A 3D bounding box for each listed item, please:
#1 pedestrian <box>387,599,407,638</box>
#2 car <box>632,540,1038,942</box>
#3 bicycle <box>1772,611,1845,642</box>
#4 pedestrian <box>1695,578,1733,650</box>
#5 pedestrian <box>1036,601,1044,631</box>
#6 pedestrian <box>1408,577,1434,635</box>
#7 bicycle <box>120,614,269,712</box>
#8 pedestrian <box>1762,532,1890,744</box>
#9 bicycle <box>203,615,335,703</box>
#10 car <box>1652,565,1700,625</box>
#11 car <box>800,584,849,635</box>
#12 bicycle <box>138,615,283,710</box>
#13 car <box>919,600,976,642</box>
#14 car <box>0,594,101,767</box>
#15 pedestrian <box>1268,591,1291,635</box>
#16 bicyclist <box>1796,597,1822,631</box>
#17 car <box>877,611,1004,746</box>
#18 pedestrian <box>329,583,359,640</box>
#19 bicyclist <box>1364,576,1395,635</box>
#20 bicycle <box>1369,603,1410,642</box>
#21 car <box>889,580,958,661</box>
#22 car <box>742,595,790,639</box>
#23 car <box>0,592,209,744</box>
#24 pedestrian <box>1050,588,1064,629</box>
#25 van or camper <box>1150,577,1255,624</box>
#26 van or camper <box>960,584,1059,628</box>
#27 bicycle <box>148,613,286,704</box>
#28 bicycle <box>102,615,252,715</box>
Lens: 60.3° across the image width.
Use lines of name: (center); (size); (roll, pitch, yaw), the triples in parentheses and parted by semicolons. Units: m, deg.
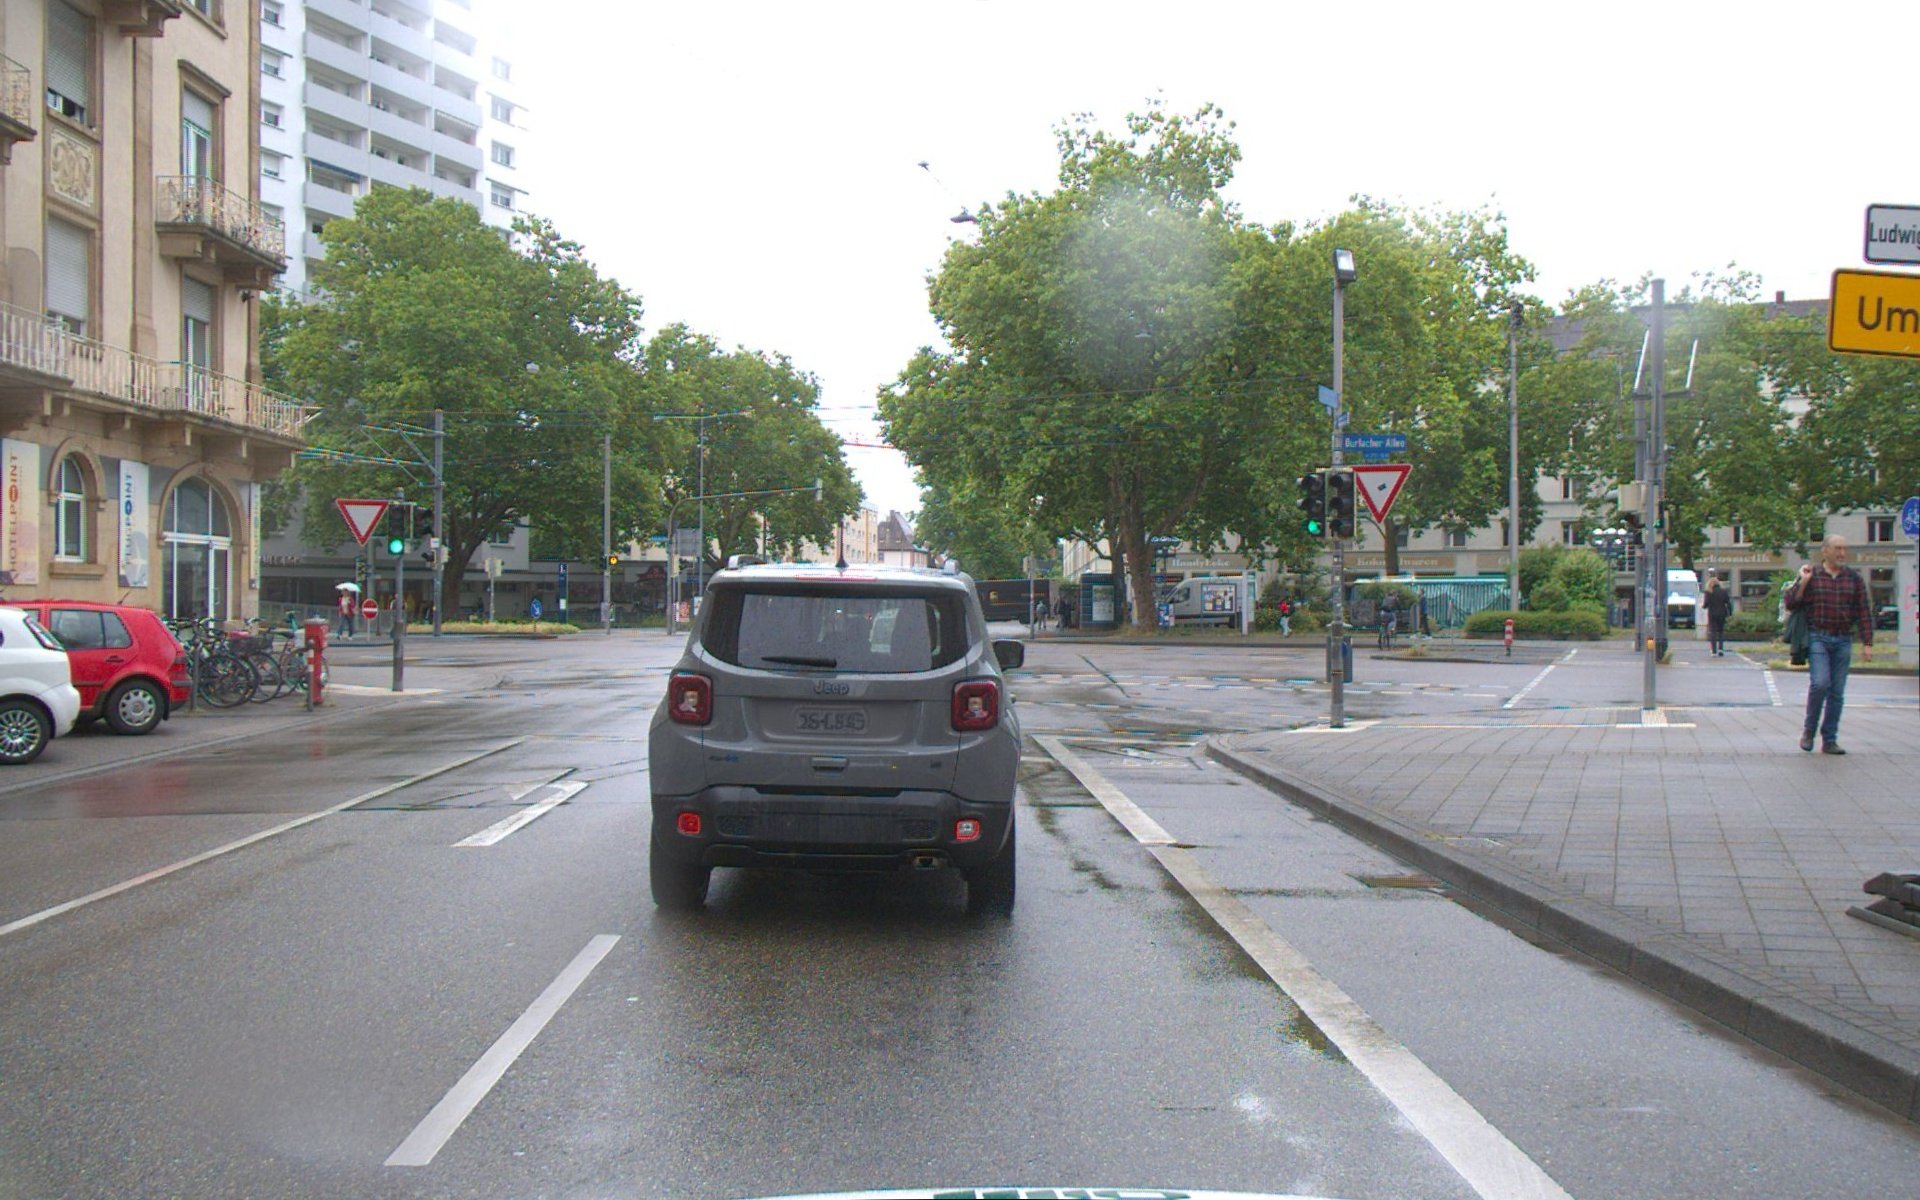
pedestrian: (-22.510, 0.732, 66.132); (0.433, 1.556, 0.643); (0, 0, 25)
car: (-0.590, 0.610, 9.163); (1.739, 1.716, 3.847); (-1, 0, -1)
bicycle: (25.604, 0.799, 49.945); (1.927, 0.927, 0.559); (0, 0, 23)
pedestrian: (17.839, 0.333, 39.157); (0.767, 1.674, 0.655); (-1, 0, 23)
pedestrian: (4.645, 0.927, 95.645); (0.448, 1.733, 0.424); (0, 0, 0)
pedestrian: (16.305, 0.221, 58.517); (0.789, 2.049, 0.589); (-1, 0, 26)
bicycle: (-10.428, 0.854, 22.553); (1.774, 1.288, 0.498); (-1, 0, -2)
pedestrian: (7.583, 0.324, 14.522); (0.769, 1.790, 0.946); (-1, 0, 14)
bicycle: (-10.496, 0.891, 25.143); (1.728, 1.288, 0.608); (-1, 0, -2)
car: (32.056, -0.214, 74.127); (1.868, 2.600, 4.785); (0, 0, 23)
car: (-4.805, 0.331, 58.842); (1.687, 1.769, 3.726); (0, 0, -4)
bicycle: (-10.488, 0.862, 23.164); (1.774, 1.288, 0.498); (-1, 0, -2)
car: (-0.418, 0.637, 52.437); (1.561, 1.274, 3.571); (0, 0, -4)
car: (-9.969, 0.747, 15.272); (3.371, 1.585, 1.681); (0, 0, -40)
pedestrian: (11.709, 0.476, 60.566); (0.660, 1.581, 0.761); (0, -2, 27)
bicyclist: (25.627, 0.419, 49.931); (0.665, 1.044, 0.559); (0, 0, 23)
car: (-0.227, 0.845, 19.152); (1.335, 1.400, 3.311); (0, 0, -1)
pedestrian: (-20.076, 0.369, 53.908); (0.605, 1.858, 0.695); (-1, 0, 13)
bicyclist: (11.773, 0.154, 46.422); (0.673, 1.646, 0.883); (-1, 0, 24)
bicycle: (12.085, 0.626, 46.472); (0.678, 1.039, 2.656); (-1, 0, 24)
car: (-0.951, 0.516, 43.751); (1.734, 2.049, 3.999); (0, 0, -1)
car: (-7.728, 0.643, 66.147); (1.778, 1.700, 3.916); (0, 0, -5)
car: (-10.279, 0.717, 18.208); (3.371, 1.585, 1.681); (0, 0, -40)
pedestrian: (4.867, 0.403, 82.788); (0.637, 2.049, 0.483); (0, 0, 12)
van or camper: (12.408, 0.008, 84.938); (5.149, 2.356, 2.091); (0, 0, 3)
van or camper: (3.438, 0.398, 114.653); (6.398, 2.963, 2.492); (-1, 0, 26)
bicycle: (-10.883, 0.850, 24.259); (1.728, 1.288, 0.608); (-1, 0, -2)
bicycle: (-10.406, 0.862, 22.006); (1.728, 1.288, 0.522); (-1, 0, -2)
